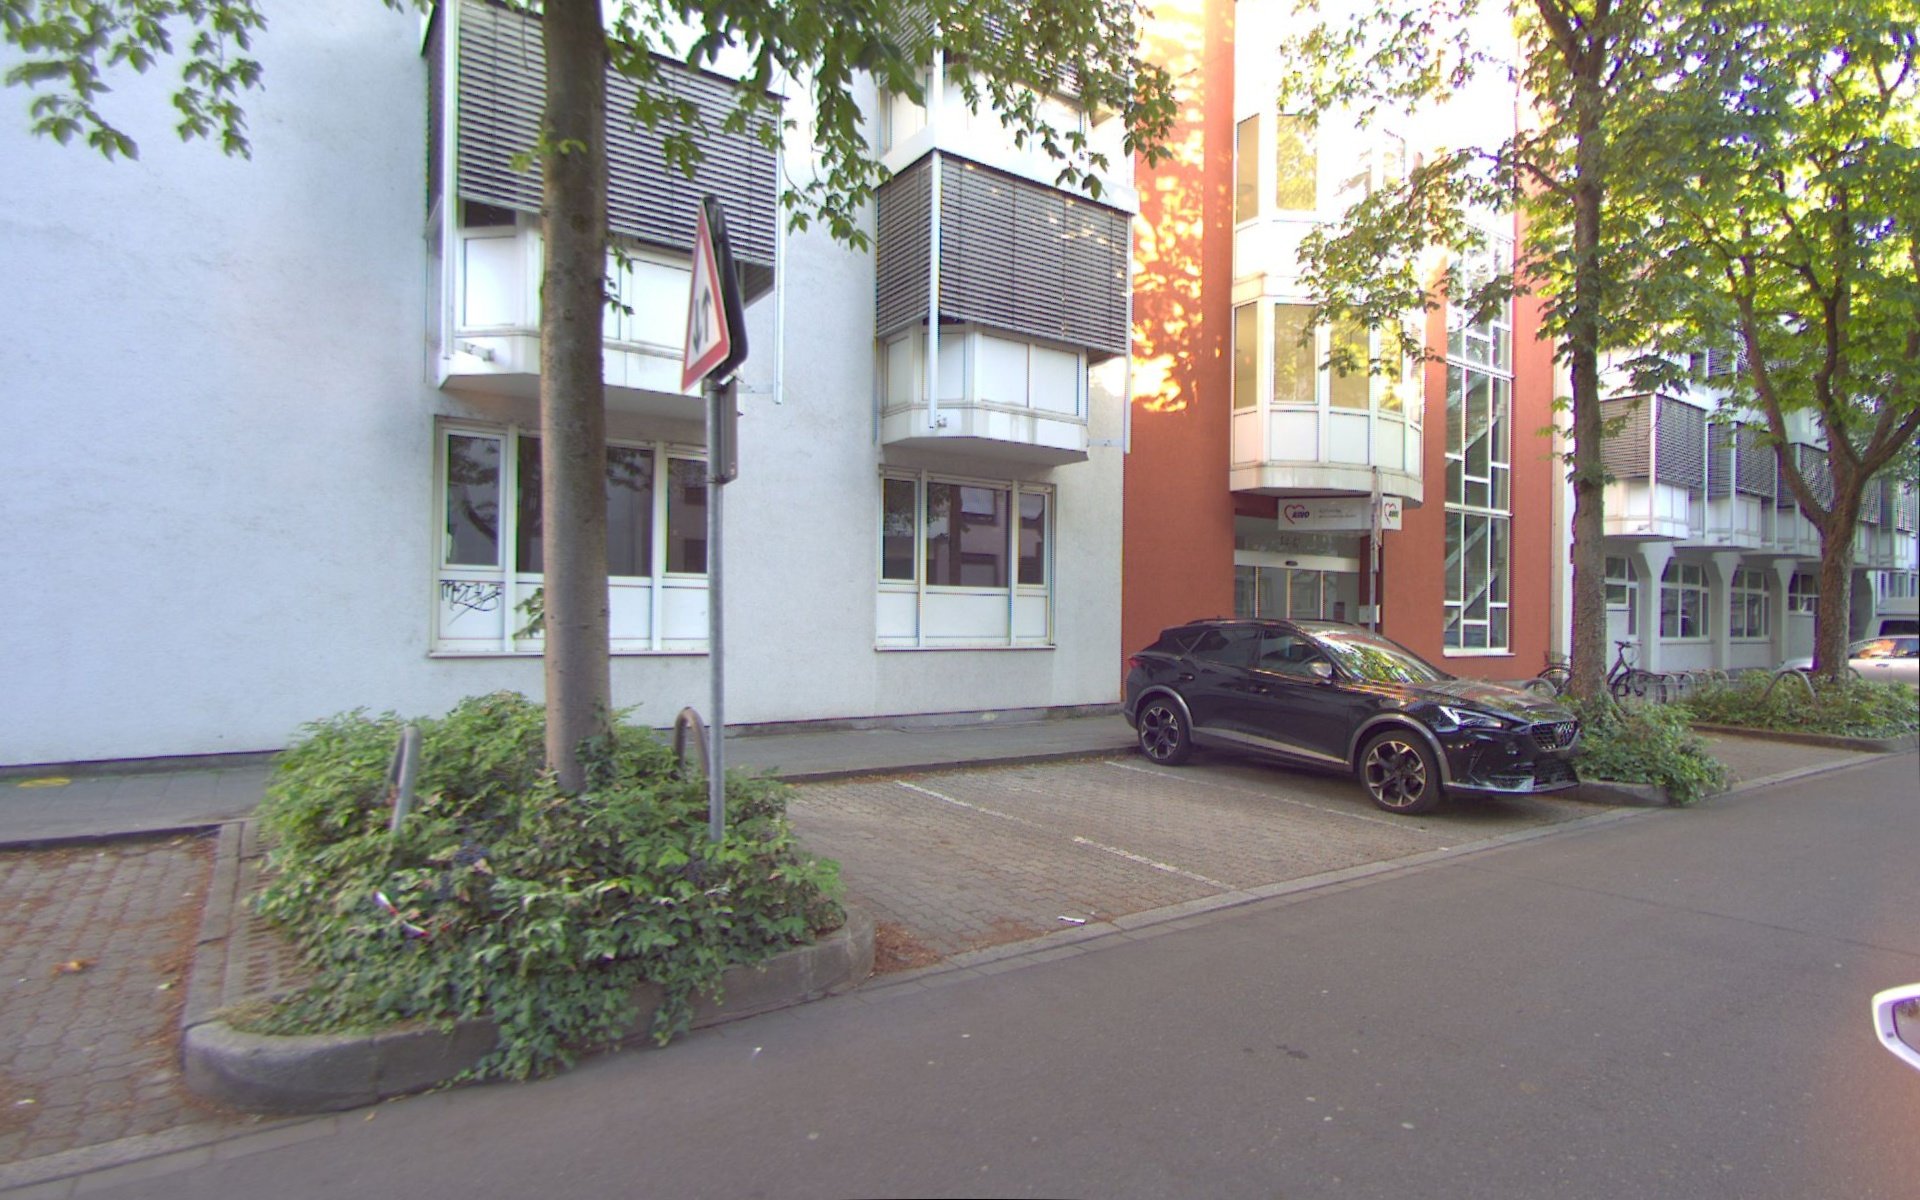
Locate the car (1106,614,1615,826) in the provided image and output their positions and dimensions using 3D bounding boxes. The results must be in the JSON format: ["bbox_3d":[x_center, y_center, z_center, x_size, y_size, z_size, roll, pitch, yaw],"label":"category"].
[{"bbox_3d":[3.526,0.919,9.654,1.767,1.537,4.327,1,-1,-34],"label":"car"}]

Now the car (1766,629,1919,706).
[{"bbox_3d":[20.269,1.444,21.863,1.766,1.537,3.944,1,-1,-33],"label":"car"}]

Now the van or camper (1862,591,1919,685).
[{"bbox_3d":[27.123,1.031,26.494,1.980,2.511,4.634,1,-1,-34],"label":"van or camper"}]
